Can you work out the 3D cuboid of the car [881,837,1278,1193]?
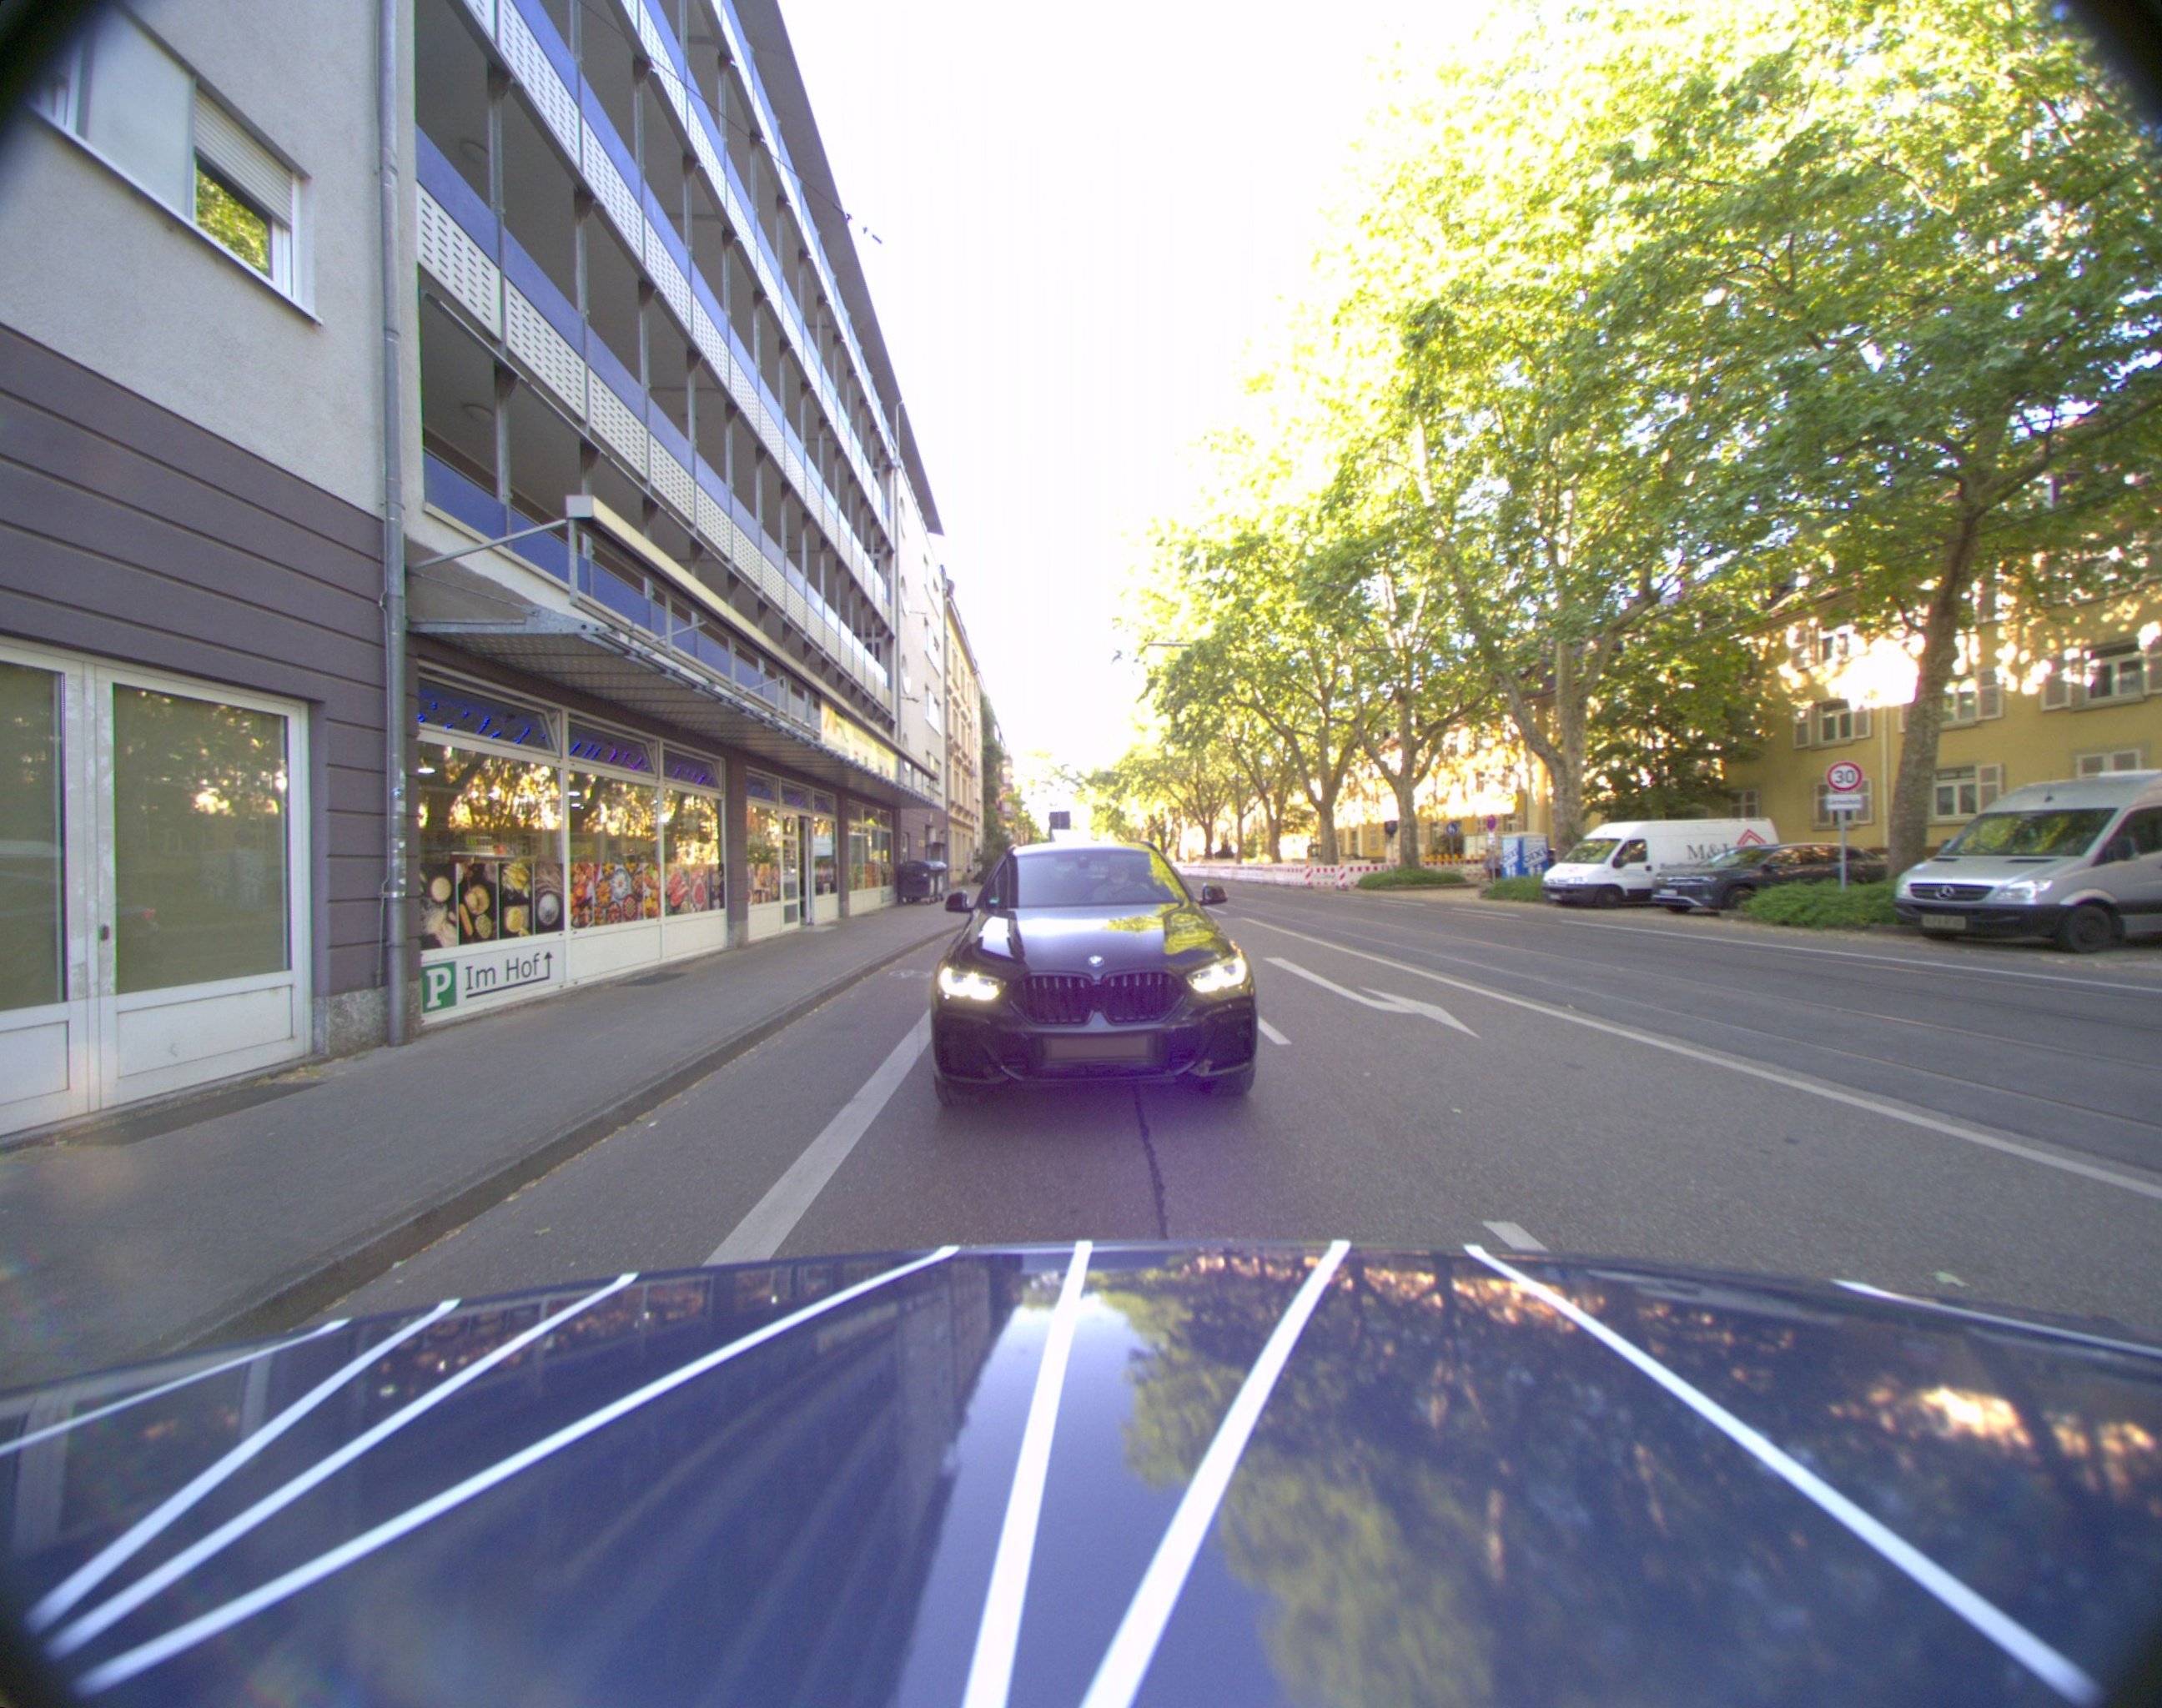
[{"bbox_3d":[0.017,0.823,6.064,1.943,1.733,4.475,-2,0,1],"label":"car"}]

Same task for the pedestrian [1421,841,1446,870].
[{"bbox_3d":[24.035,0.101,51.795,1.098,2.002,1.235,-1,0,-4],"label":"pedestrian"}]

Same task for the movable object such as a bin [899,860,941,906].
[{"bbox_3d":[-5.232,0.932,24.817,1.069,1.438,1.296,-1,0,-1],"label":"movable object such as a bin"}]

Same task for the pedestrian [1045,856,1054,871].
[{"bbox_3d":[-3.708,1.145,89.232,0.876,1.728,0.848,-3,1,1],"label":"pedestrian"}]

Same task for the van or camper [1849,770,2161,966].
[{"bbox_3d":[16.085,0.130,11.807,6.127,2.661,2.229,-2,0,-2],"label":"van or camper"}]

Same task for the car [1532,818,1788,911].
[{"bbox_3d":[15.847,0.276,21.006,5.612,2.361,2.025,-1,0,-2],"label":"car"}]

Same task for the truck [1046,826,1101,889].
[{"bbox_3d":[-0.581,0.203,43.162,2.385,3.165,8.525,2,0,-5],"label":"truck"}]

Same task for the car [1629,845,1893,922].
[{"bbox_3d":[15.936,0.659,17.980,4.575,1.621,1.969,-1,0,-2],"label":"car"}]

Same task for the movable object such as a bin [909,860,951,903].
[{"bbox_3d":[-5.292,0.953,26.712,1.122,1.437,1.306,-1,0,4],"label":"movable object such as a bin"}]

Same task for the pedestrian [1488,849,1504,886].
[{"bbox_3d":[18.007,0.576,32.976,0.595,1.563,0.718,-1,0,27],"label":"pedestrian"}]
